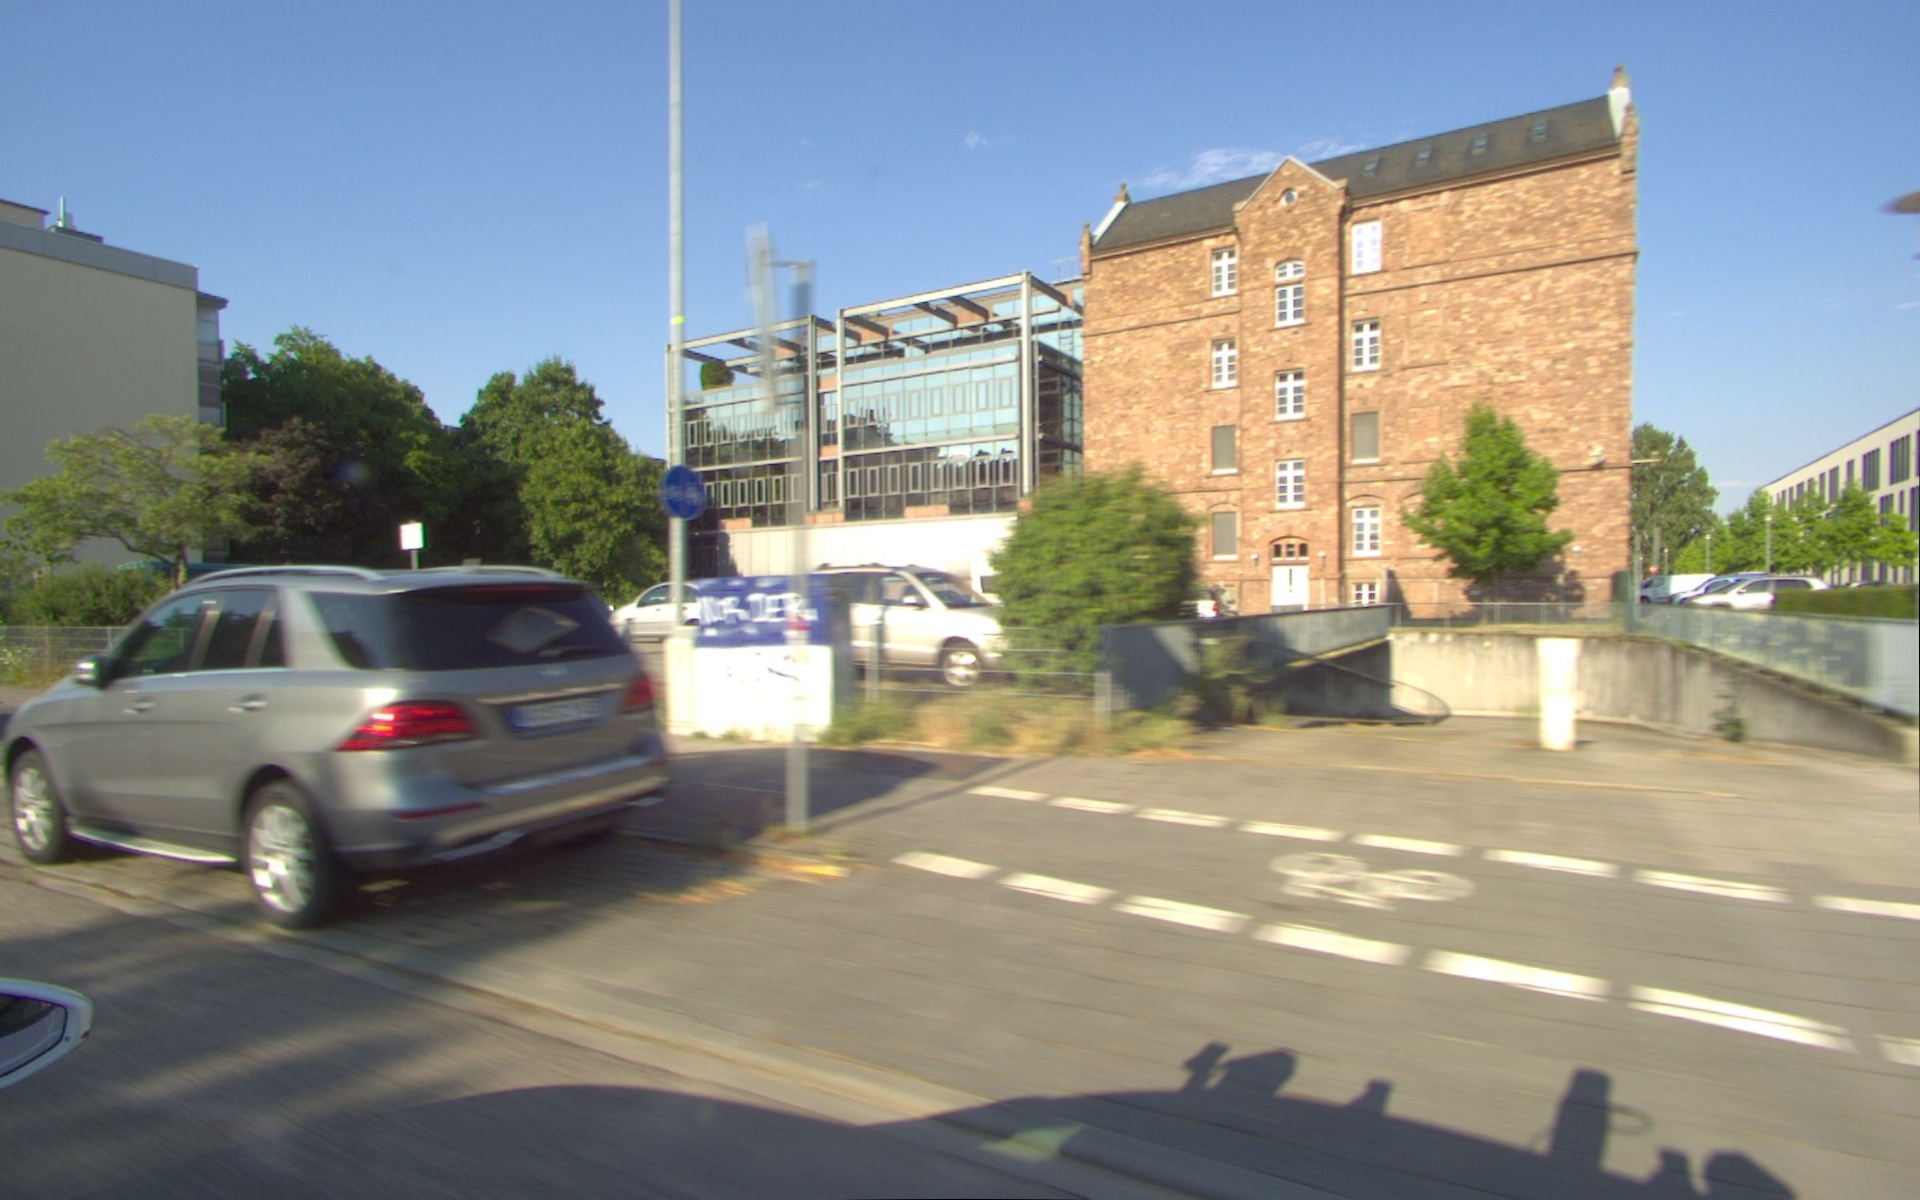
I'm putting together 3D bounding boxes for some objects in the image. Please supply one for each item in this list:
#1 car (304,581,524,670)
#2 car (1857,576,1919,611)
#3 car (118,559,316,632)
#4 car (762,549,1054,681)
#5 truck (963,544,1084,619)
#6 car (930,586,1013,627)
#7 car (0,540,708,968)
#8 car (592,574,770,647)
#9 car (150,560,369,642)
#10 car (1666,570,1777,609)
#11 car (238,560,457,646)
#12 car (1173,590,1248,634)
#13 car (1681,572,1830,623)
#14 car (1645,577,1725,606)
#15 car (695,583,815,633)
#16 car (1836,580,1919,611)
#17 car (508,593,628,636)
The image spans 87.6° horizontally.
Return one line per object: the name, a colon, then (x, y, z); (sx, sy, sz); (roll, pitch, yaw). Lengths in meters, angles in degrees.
car: (-12.184, 0.609, 22.618); (1.969, 1.816, 3.987); (-1, -2, 27)
car: (50.840, -0.364, 52.836); (4.900, 1.734, 1.991); (-2, -2, 32)
car: (-20.512, -0.046, 27.822); (1.969, 1.816, 3.987); (-1, -2, 27)
car: (-0.784, 0.268, 14.432); (3.939, 1.683, 1.652); (-2, -2, 29)
truck: (2.777, -0.651, 41.626); (2.504, 2.717, 6.419); (-1, -2, 29)
car: (0.565, 0.329, 43.329); (1.706, 1.622, 4.473); (-1, -2, 29)
car: (-4.057, 0.668, 6.209); (4.738, 1.803, 1.917); (-2, 3, 29)
car: (-6.851, 0.308, 24.573); (3.938, 1.646, 1.993); (-2, -2, 28)
car: (-17.120, 0.105, 24.673); (1.969, 1.816, 3.985); (-1, -2, 28)
car: (35.470, -0.461, 46.780); (3.944, 1.638, 1.990); (-2, -2, 33)
car: (-14.286, 0.157, 23.595); (1.969, 1.816, 3.987); (-1, -2, 27)
car: (9.649, 0.507, 38.338); (1.803, 1.522, 4.069); (-1, -2, 29)
car: (28.388, -0.052, 35.917); (3.944, 1.638, 1.990); (-2, -2, 33)
car: (45.984, -0.530, 63.598); (3.944, 1.638, 1.990); (-2, -2, 33)
car: (-7.230, 0.343, 35.762); (1.706, 1.622, 4.473); (-1, -2, 29)
car: (57.594, -0.288, 61.903); (4.900, 1.734, 1.991); (-2, -2, 32)
car: (-15.747, 0.638, 40.462); (1.706, 1.622, 4.473); (-1, -2, 29)
